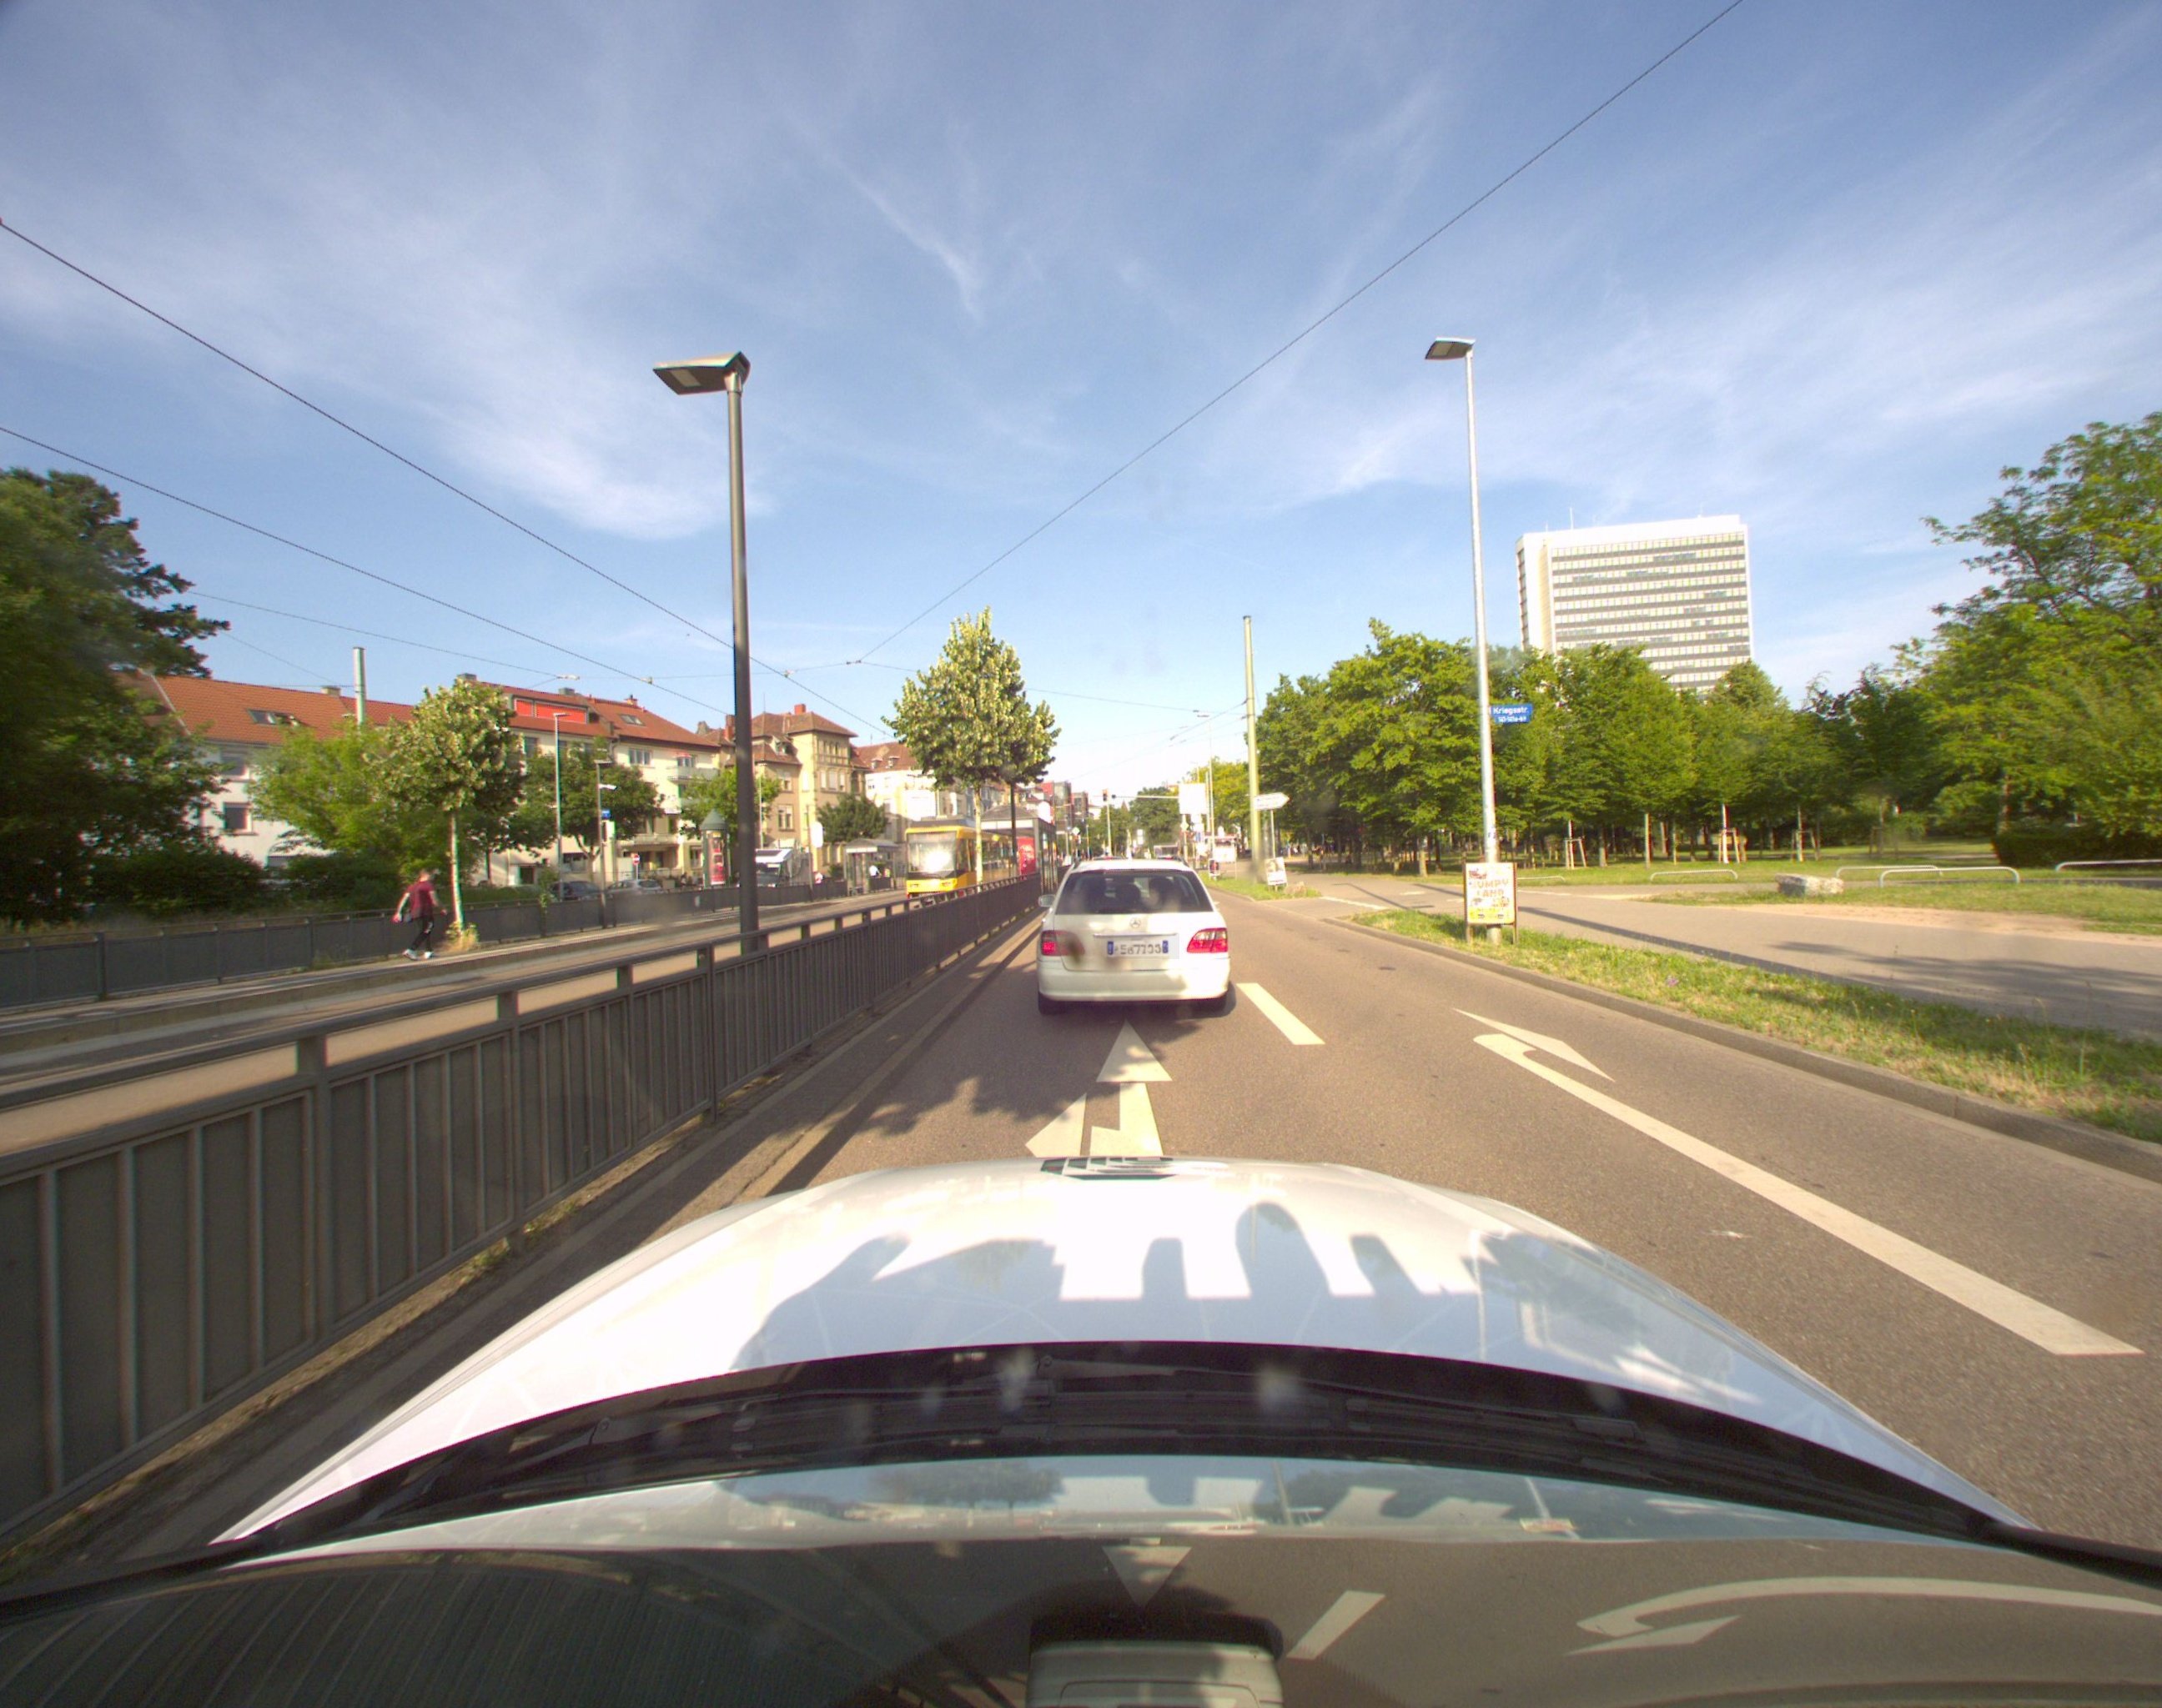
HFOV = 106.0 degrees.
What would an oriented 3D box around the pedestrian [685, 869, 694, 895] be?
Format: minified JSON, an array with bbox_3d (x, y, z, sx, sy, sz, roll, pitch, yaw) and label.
[{"bbox_3d":[-31.468,2.239,65.486,0.417,2.013,0.436,-2,0,20],"label":"pedestrian"}]

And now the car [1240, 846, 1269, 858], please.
[{"bbox_3d":[27.093,-0.251,126.830,3.949,1.651,2.012,-3,0,27],"label":"car"}]

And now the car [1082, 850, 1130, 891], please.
[{"bbox_3d":[1.183,0.712,36.785,1.778,1.690,4.007,-2,0,6],"label":"car"}]

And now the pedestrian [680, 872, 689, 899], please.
[{"bbox_3d":[-30.829,2.445,63.261,0.379,2.013,0.410,-2,0,20],"label":"pedestrian"}]

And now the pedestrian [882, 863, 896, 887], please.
[{"bbox_3d":[-14.149,1.532,59.994,0.886,1.753,0.743,-2,0,-9],"label":"pedestrian"}]

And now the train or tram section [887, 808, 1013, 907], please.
[{"bbox_3d":[-5.230,0.077,35.648,2.838,3.479,13.207,-1,0,2],"label":"train or tram section"}]

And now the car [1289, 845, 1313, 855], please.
[{"bbox_3d":[41.679,-0.815,153.994,4.007,1.651,1.983,-3,0,-25],"label":"car"}]

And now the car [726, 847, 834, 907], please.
[{"bbox_3d":[-15.446,1.084,42.406,2.587,2.735,7.470,-2,0,1],"label":"car"}]

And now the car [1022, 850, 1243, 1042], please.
[{"bbox_3d":[0.527,0.754,8.743,1.751,1.503,4.003,-3,0,3],"label":"car"}]

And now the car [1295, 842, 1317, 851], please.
[{"bbox_3d":[44.050,-1.483,159.576,3.956,1.651,2.009,-3,0,16],"label":"car"}]

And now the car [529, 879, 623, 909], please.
[{"bbox_3d":[-26.276,2.066,42.415,3.956,1.398,2.009,-2,0,16],"label":"car"}]

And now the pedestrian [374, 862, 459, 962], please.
[{"bbox_3d":[-12.156,1.044,14.915,0.832,1.733,0.772,-3,0,2],"label":"pedestrian"}]

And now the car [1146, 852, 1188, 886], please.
[{"bbox_3d":[4.437,0.746,42.127,2.023,1.605,4.007,-2,0,6],"label":"car"}]

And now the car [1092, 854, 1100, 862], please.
[{"bbox_3d":[3.866,0.972,210.964,1.986,2.013,4.001,-3,0,1],"label":"car"}]

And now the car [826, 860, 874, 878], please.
[{"bbox_3d":[-23.727,1.548,83.860,2.183,1.628,4.744,-2,0,25],"label":"car"}]

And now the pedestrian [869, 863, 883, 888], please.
[{"bbox_3d":[-15.075,1.558,59.835,0.886,1.753,0.743,-2,0,-9],"label":"pedestrian"}]

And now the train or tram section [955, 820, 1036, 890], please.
[{"bbox_3d":[-4.787,0.026,48.527,2.838,3.479,13.207,-2,0,2],"label":"train or tram section"}]

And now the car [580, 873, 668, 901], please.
[{"bbox_3d":[-25.322,1.826,45.153,3.956,1.398,2.009,-2,0,16],"label":"car"}]
